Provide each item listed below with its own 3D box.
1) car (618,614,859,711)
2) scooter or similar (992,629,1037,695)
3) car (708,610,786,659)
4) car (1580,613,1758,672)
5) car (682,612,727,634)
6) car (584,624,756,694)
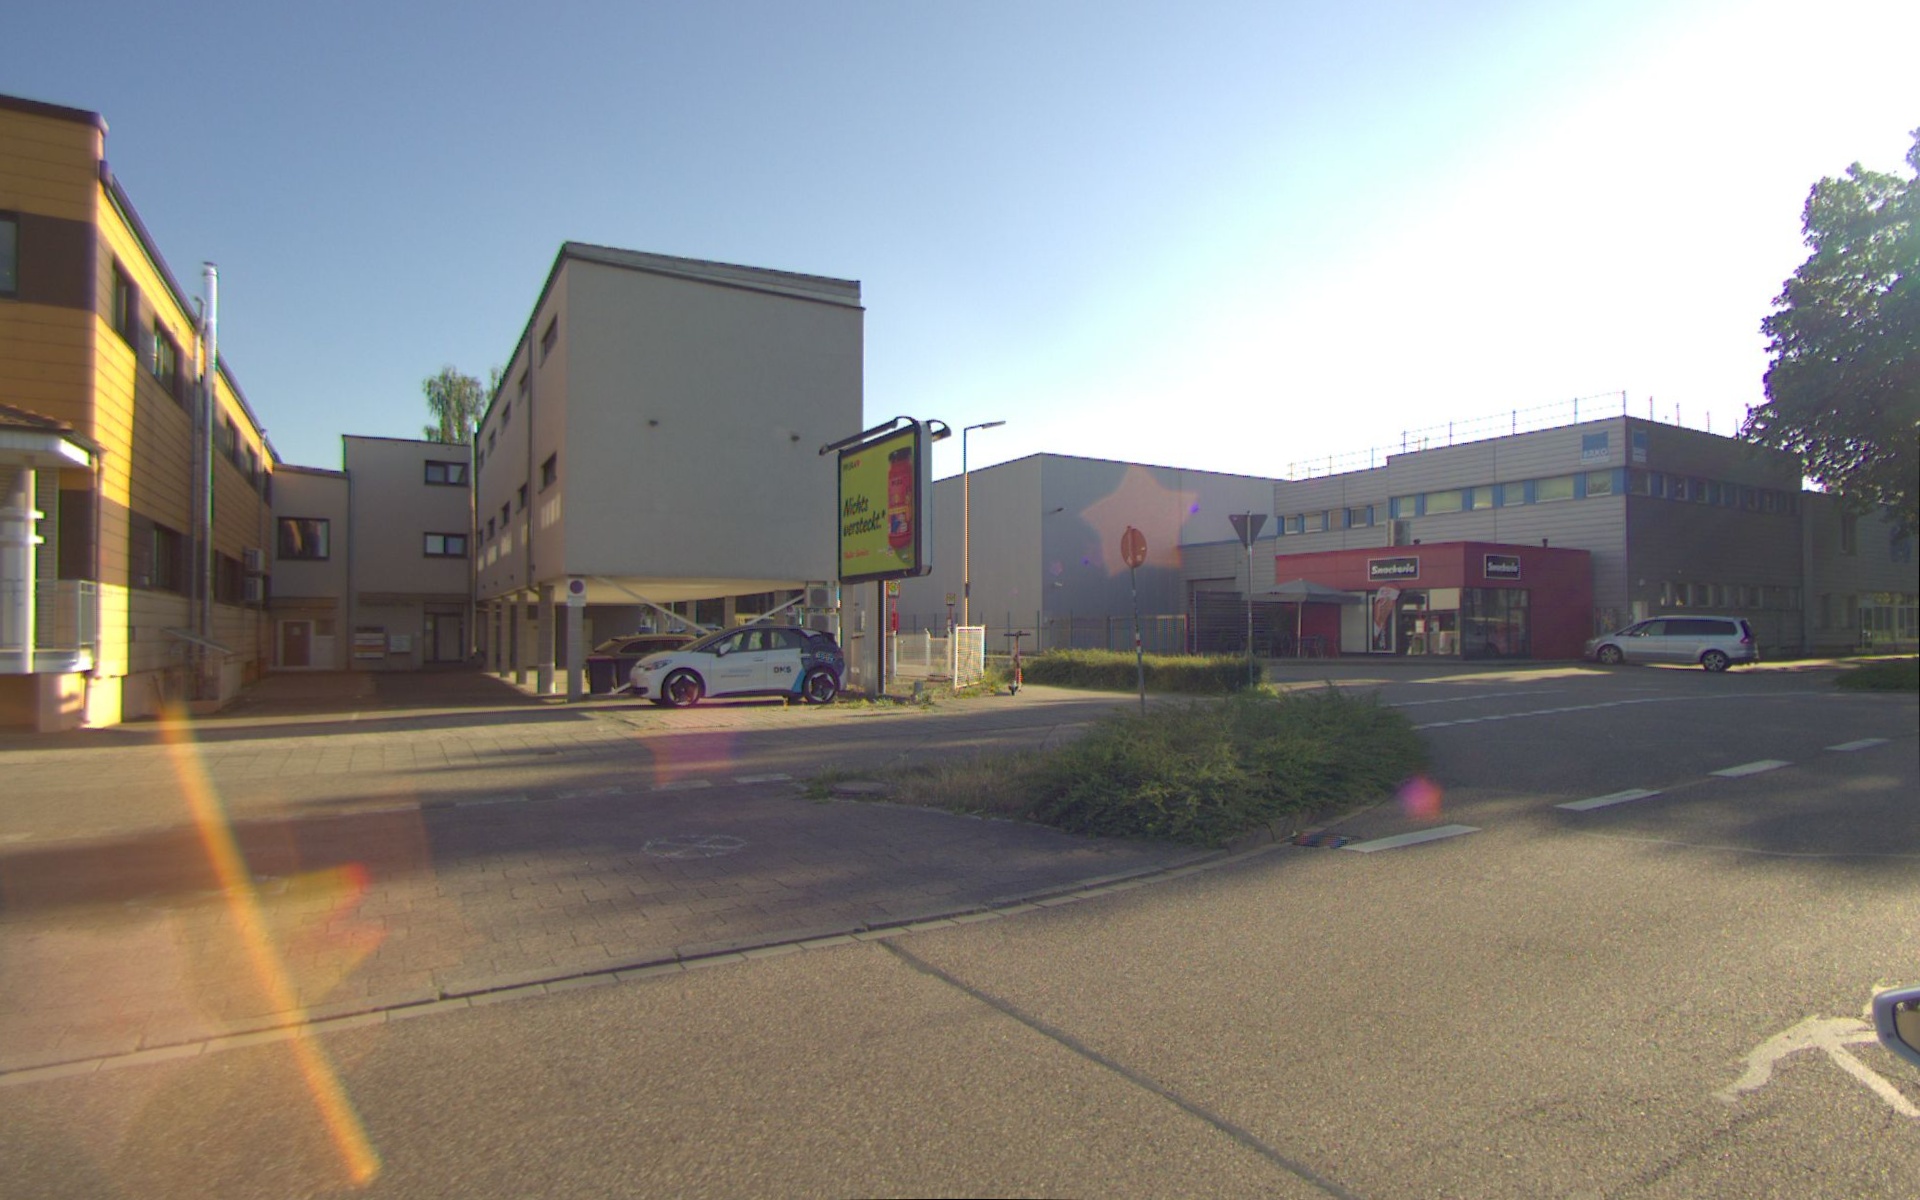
[{"bbox_3d":[-4.371,1.147,19.956,4.289,1.598,1.984,-1,1,-31],"label":"car"},{"bbox_3d":[1.078,1.197,19.718,0.613,1.216,1.390,1,-1,13],"label":"scooter or similar"},{"bbox_3d":[-10.944,1.708,51.308,2.220,2.291,5.027,2,-1,-33],"label":"car"},{"bbox_3d":[23.415,1.359,33.288,4.581,1.764,1.988,1,-1,44],"label":"car"},{"bbox_3d":[-25.577,2.296,100.708,3.955,2.040,1.983,2,-1,-31],"label":"car"},{"bbox_3d":[-7.558,1.509,26.216,3.953,1.639,1.984,2,-1,-30],"label":"car"}]
